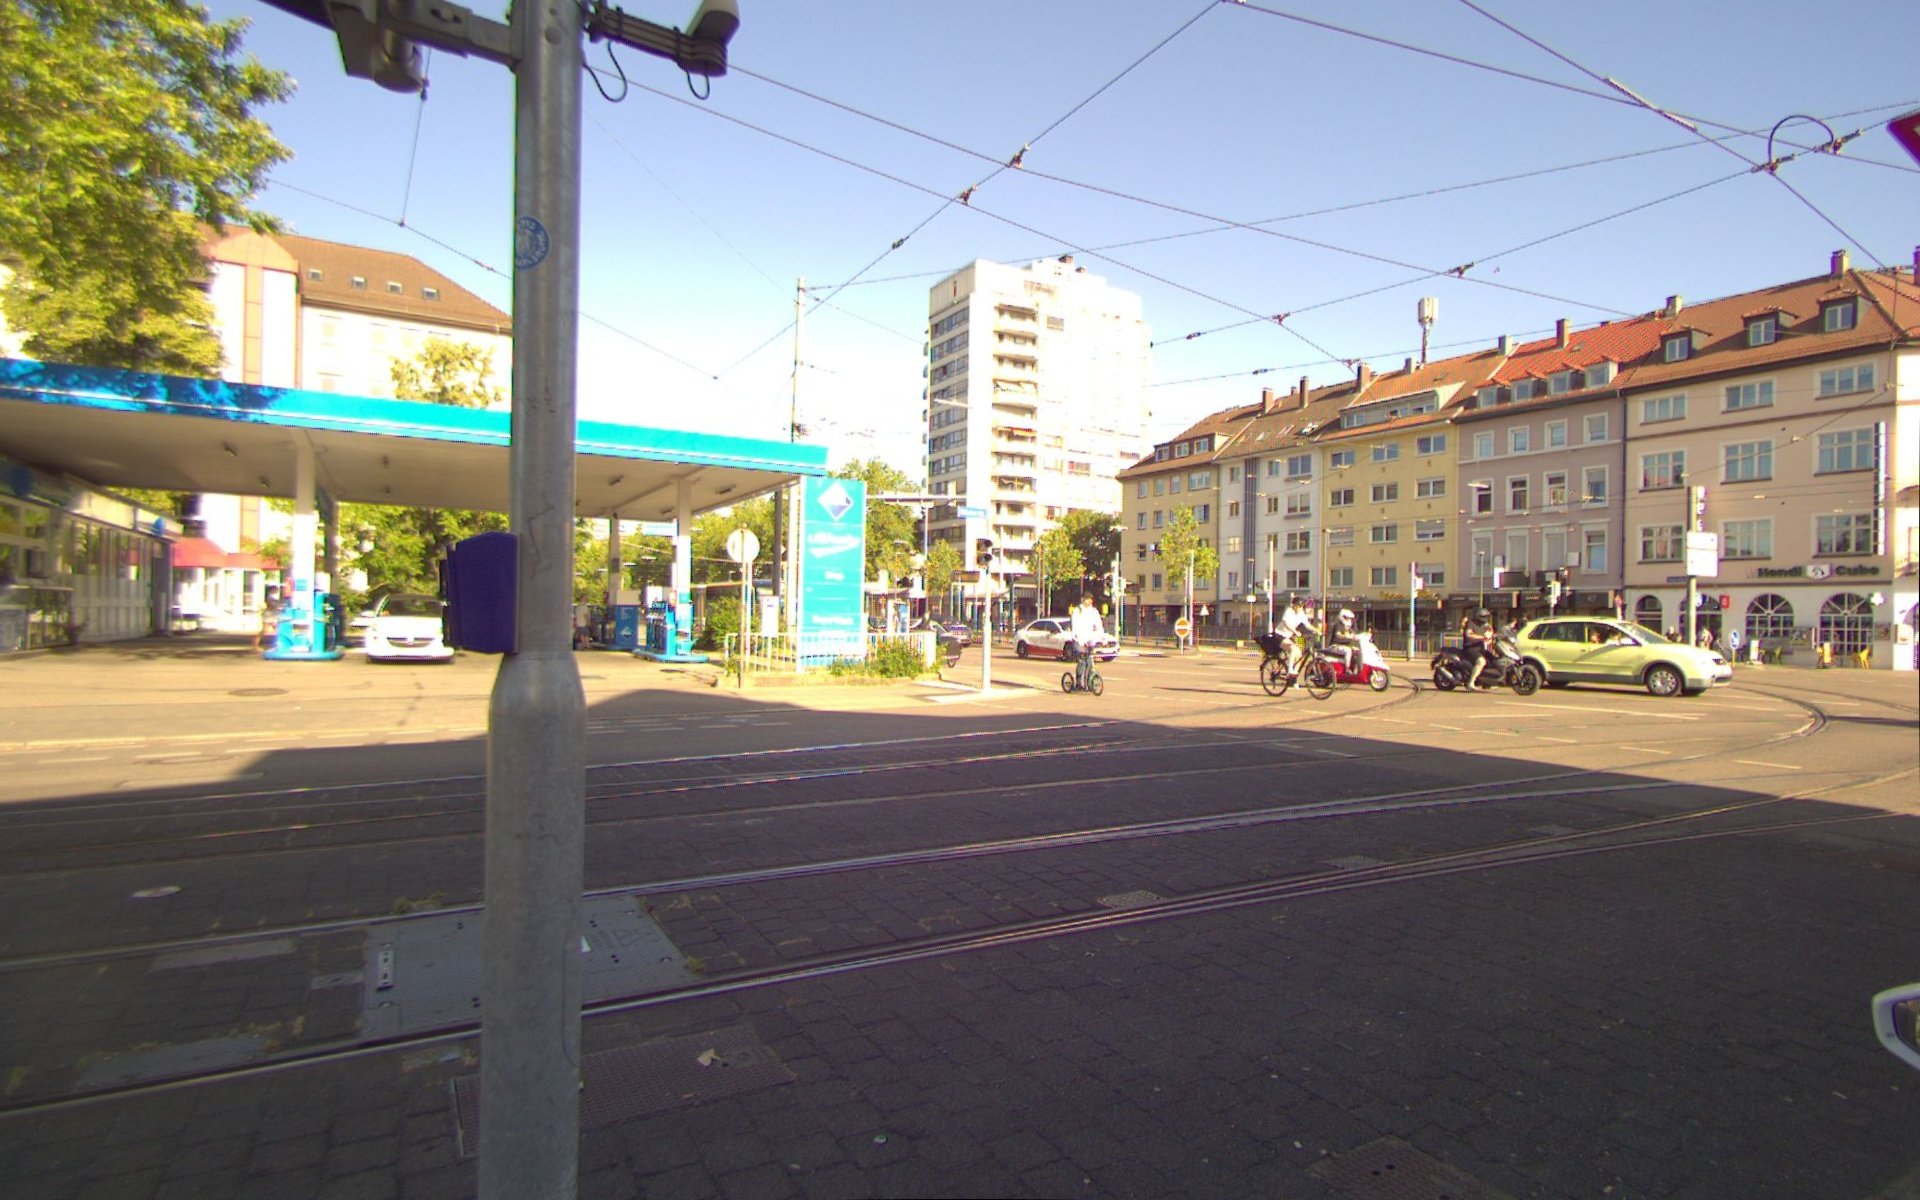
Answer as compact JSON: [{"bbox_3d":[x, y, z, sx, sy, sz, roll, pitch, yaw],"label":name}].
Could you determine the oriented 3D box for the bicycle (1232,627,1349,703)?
[{"bbox_3d":[5.831,1.115,17.811,0.736,1.239,1.909,1,-1,-37],"label":"bicycle"}]

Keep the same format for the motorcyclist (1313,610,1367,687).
[{"bbox_3d":[7.712,0.971,20.397,0.654,1.527,0.807,1,-1,-41],"label":"motorcyclist"}]

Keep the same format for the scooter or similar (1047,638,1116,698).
[{"bbox_3d":[2.300,1.269,19.142,0.558,1.057,1.424,1,-1,-30],"label":"scooter or similar"}]

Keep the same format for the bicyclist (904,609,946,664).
[{"bbox_3d":[-1.090,1.109,31.121,0.923,1.659,1.020,1,-1,-29],"label":"bicyclist"}]

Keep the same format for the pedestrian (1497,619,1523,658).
[{"bbox_3d":[24.176,1.679,44.150,0.621,1.704,0.763,1,-1,-30],"label":"pedestrian"}]

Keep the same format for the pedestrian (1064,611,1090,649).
[{"bbox_3d":[5.086,1.307,43.690,0.788,1.632,0.766,1,-1,-36],"label":"pedestrian"}]

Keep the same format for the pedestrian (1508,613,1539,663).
[{"bbox_3d":[21.514,1.445,38.357,0.714,1.853,0.763,1,-1,-30],"label":"pedestrian"}]

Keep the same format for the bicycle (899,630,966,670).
[{"bbox_3d":[-0.867,1.515,30.727,1.047,1.116,2.500,1,-1,-29],"label":"bicycle"}]

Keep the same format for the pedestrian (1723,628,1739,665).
[{"bbox_3d":[26.996,1.632,35.149,0.447,1.270,0.361,1,-1,-41],"label":"pedestrian"}]

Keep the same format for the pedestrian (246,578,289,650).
[{"bbox_3d":[-16.784,0.335,24.362,0.751,1.715,0.583,1,-1,-28],"label":"pedestrian"}]

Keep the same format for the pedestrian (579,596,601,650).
[{"bbox_3d":[-11.836,0.735,32.127,0.579,1.715,0.756,1,-1,-25],"label":"pedestrian"}]

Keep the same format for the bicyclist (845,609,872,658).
[{"bbox_3d":[-3.668,1.203,36.276,0.725,1.737,0.794,1,-2,-31],"label":"bicyclist"}]

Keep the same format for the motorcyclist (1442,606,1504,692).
[{"bbox_3d":[10.119,0.951,19.812,0.810,1.642,0.824,2,0,-41],"label":"motorcyclist"}]

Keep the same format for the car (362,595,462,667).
[{"bbox_3d":[-12.362,0.667,22.556,1.793,1.461,3.966,1,-1,-31],"label":"car"}]

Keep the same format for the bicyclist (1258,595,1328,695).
[{"bbox_3d":[5.940,0.781,17.909,0.727,1.735,0.932,1,-1,-37],"label":"bicyclist"}]

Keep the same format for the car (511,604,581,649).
[{"bbox_3d":[-13.583,0.851,32.877,1.697,1.360,3.970,1,-1,-28],"label":"car"}]

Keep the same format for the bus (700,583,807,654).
[{"bbox_3d":[-11.290,0.840,54.027,2.748,3.504,9.364,0,1,-31],"label":"bus"}]

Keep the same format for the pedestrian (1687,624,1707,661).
[{"bbox_3d":[34.482,1.979,47.010,0.731,1.704,0.626,0,-1,35],"label":"pedestrian"}]

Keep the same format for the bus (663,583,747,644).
[{"bbox_3d":[-15.813,0.719,61.770,2.755,3.504,8.571,0,1,-30],"label":"bus"}]

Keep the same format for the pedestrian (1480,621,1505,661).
[{"bbox_3d":[21.867,1.691,41.240,0.553,1.602,0.696,1,-1,-29],"label":"pedestrian"}]

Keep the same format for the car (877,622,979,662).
[{"bbox_3d":[-1.218,1.496,36.681,1.630,1.399,4.241,1,-2,-36],"label":"car"}]

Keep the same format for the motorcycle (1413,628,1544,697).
[{"bbox_3d":[10.129,1.187,19.685,0.689,1.244,2.186,1,-1,-40],"label":"motorcycle"}]

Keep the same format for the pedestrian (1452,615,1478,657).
[{"bbox_3d":[19.977,1.421,39.757,0.565,1.657,0.737,1,-1,-30],"label":"pedestrian"}]

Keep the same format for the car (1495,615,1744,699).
[{"bbox_3d":[13.331,1.082,20.510,1.725,1.518,3.927,1,-1,-36],"label":"car"}]

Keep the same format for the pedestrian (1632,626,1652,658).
[{"bbox_3d":[36.379,2.246,53.601,0.623,1.704,0.734,1,-1,-41],"label":"pedestrian"}]

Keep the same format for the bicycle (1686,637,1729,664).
[{"bbox_3d":[37.751,2.520,50.751,1.693,1.293,0.385,0,-1,44],"label":"bicycle"}]

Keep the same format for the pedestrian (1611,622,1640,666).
[{"bbox_3d":[26.438,1.731,39.913,0.621,1.704,0.737,1,-1,-30],"label":"pedestrian"}]

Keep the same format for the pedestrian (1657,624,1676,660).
[{"bbox_3d":[33.897,2.023,48.177,0.731,1.704,0.626,0,-1,35],"label":"pedestrian"}]

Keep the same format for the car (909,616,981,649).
[{"bbox_3d":[-0.780,1.528,47.869,1.697,1.439,4.149,1,-1,-28],"label":"car"}]

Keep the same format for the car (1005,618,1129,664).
[{"bbox_3d":[3.598,1.358,34.611,1.723,1.492,4.644,1,-1,-33],"label":"car"}]

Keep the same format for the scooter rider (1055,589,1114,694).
[{"bbox_3d":[2.357,0.779,19.067,0.788,1.937,0.791,1,0,-30],"label":"scooter rider"}]

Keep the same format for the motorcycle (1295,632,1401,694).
[{"bbox_3d":[7.786,1.245,20.255,0.500,1.133,2.008,1,-1,-40],"label":"motorcycle"}]
